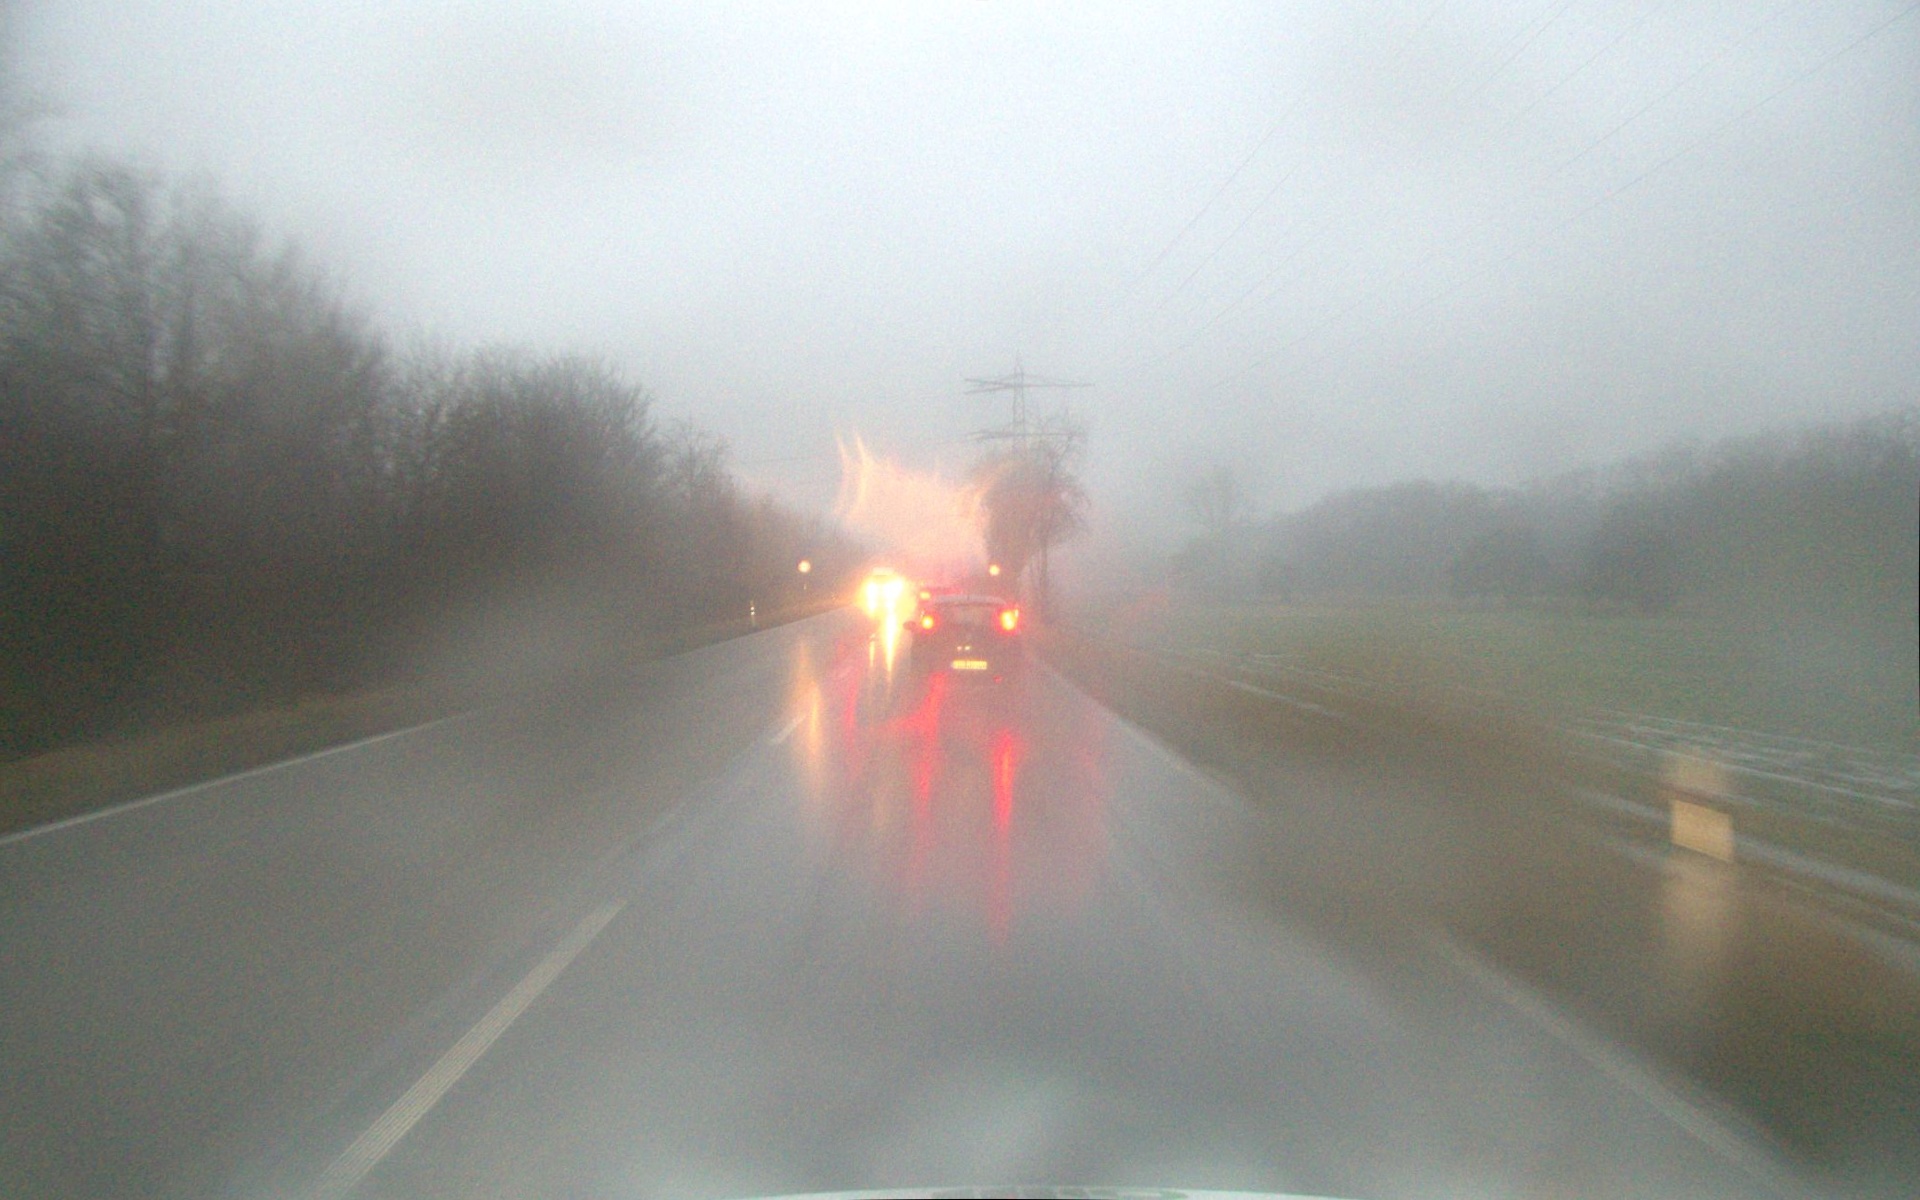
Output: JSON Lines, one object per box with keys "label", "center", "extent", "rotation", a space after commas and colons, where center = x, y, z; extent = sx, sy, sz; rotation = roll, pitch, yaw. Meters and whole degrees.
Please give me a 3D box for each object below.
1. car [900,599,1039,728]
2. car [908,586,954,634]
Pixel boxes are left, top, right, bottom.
{"label": "car", "center": [0.096, 0.895, 25.321], "extent": [1.953, 1.782, 3.999], "rotation": [0, 0, -1]}
{"label": "car", "center": [-1.266, 0.397, 72.752], "extent": [1.953, 2.049, 3.999], "rotation": [0, 1, -1]}
